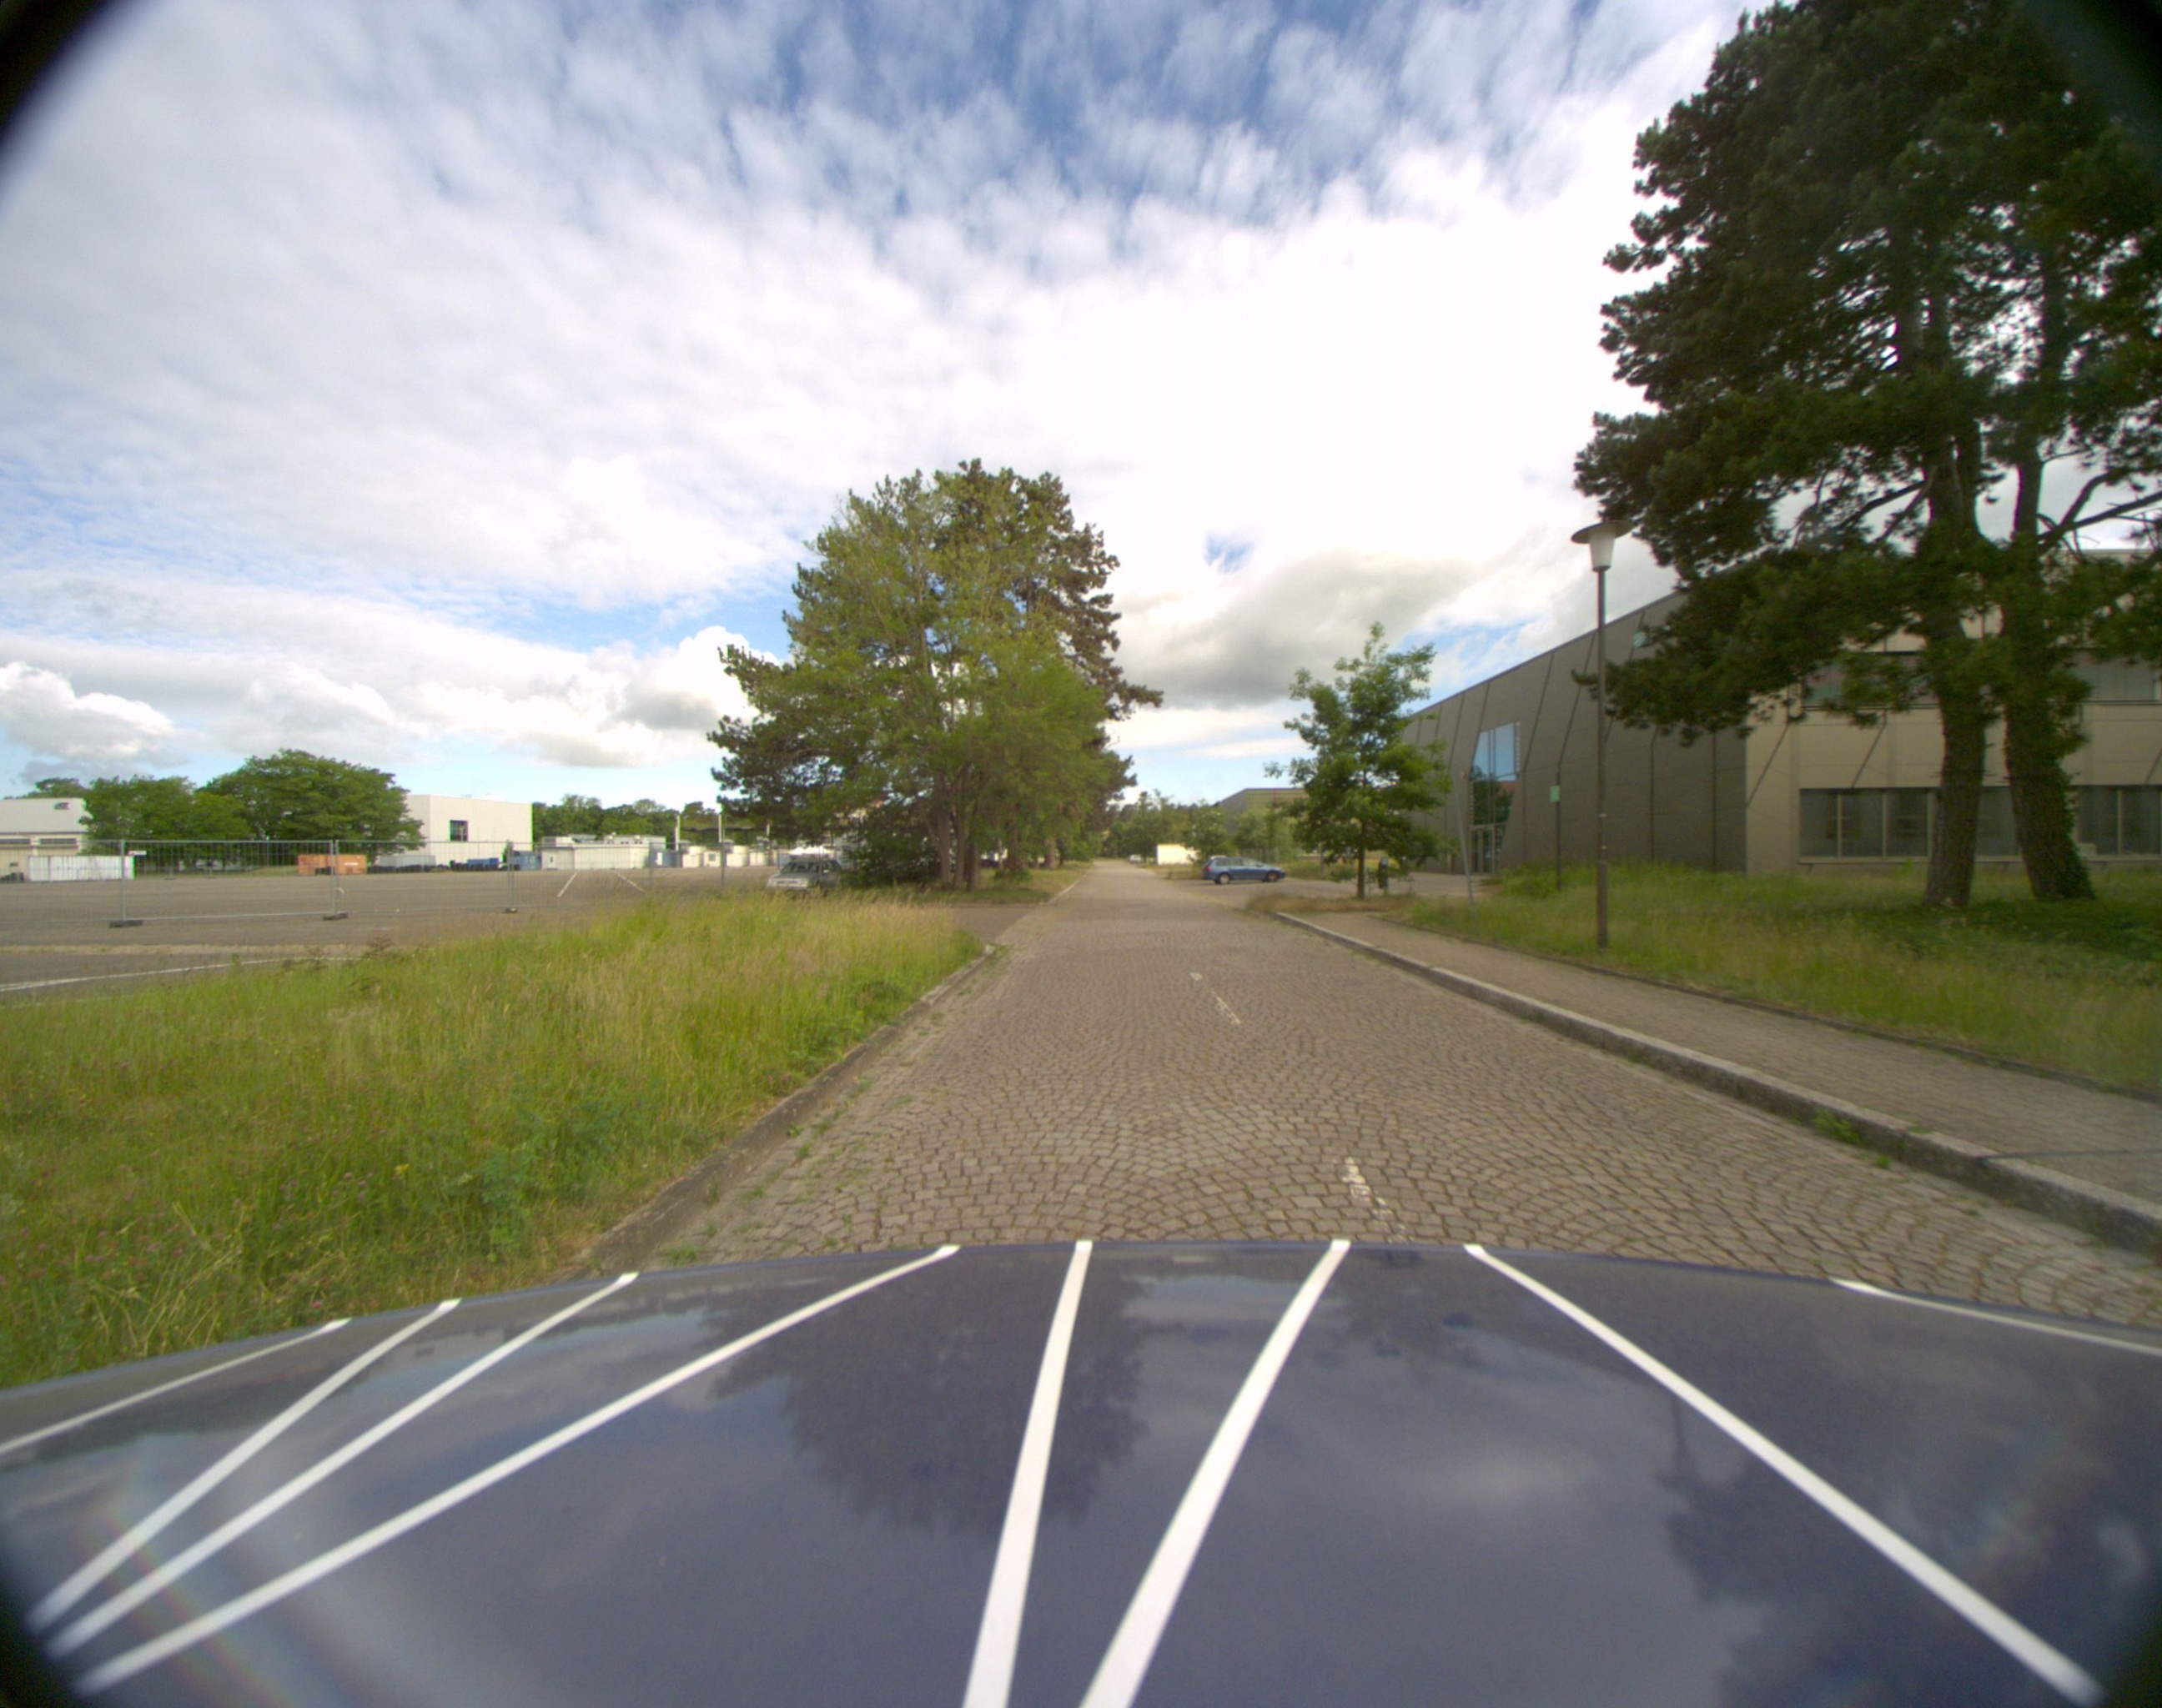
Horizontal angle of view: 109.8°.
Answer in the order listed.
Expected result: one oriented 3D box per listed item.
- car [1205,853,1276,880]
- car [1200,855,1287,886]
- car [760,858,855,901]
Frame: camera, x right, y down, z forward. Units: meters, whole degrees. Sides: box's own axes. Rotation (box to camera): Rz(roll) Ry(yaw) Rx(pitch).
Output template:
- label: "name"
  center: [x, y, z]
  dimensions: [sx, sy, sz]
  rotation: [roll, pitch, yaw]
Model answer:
- label: "car"
  center: [10.340, 0.794, 49.642]
  dimensions: [4.400, 1.537, 1.842]
  rotation: [-3, 0, 9]
- label: "car"
  center: [8.947, 0.899, 42.165]
  dimensions: [4.403, 1.501, 1.717]
  rotation: [-3, 0, -1]
- label: "car"
  center: [-10.060, 0.897, 28.313]
  dimensions: [1.759, 1.440, 4.328]
  rotation: [0, 0, 3]
